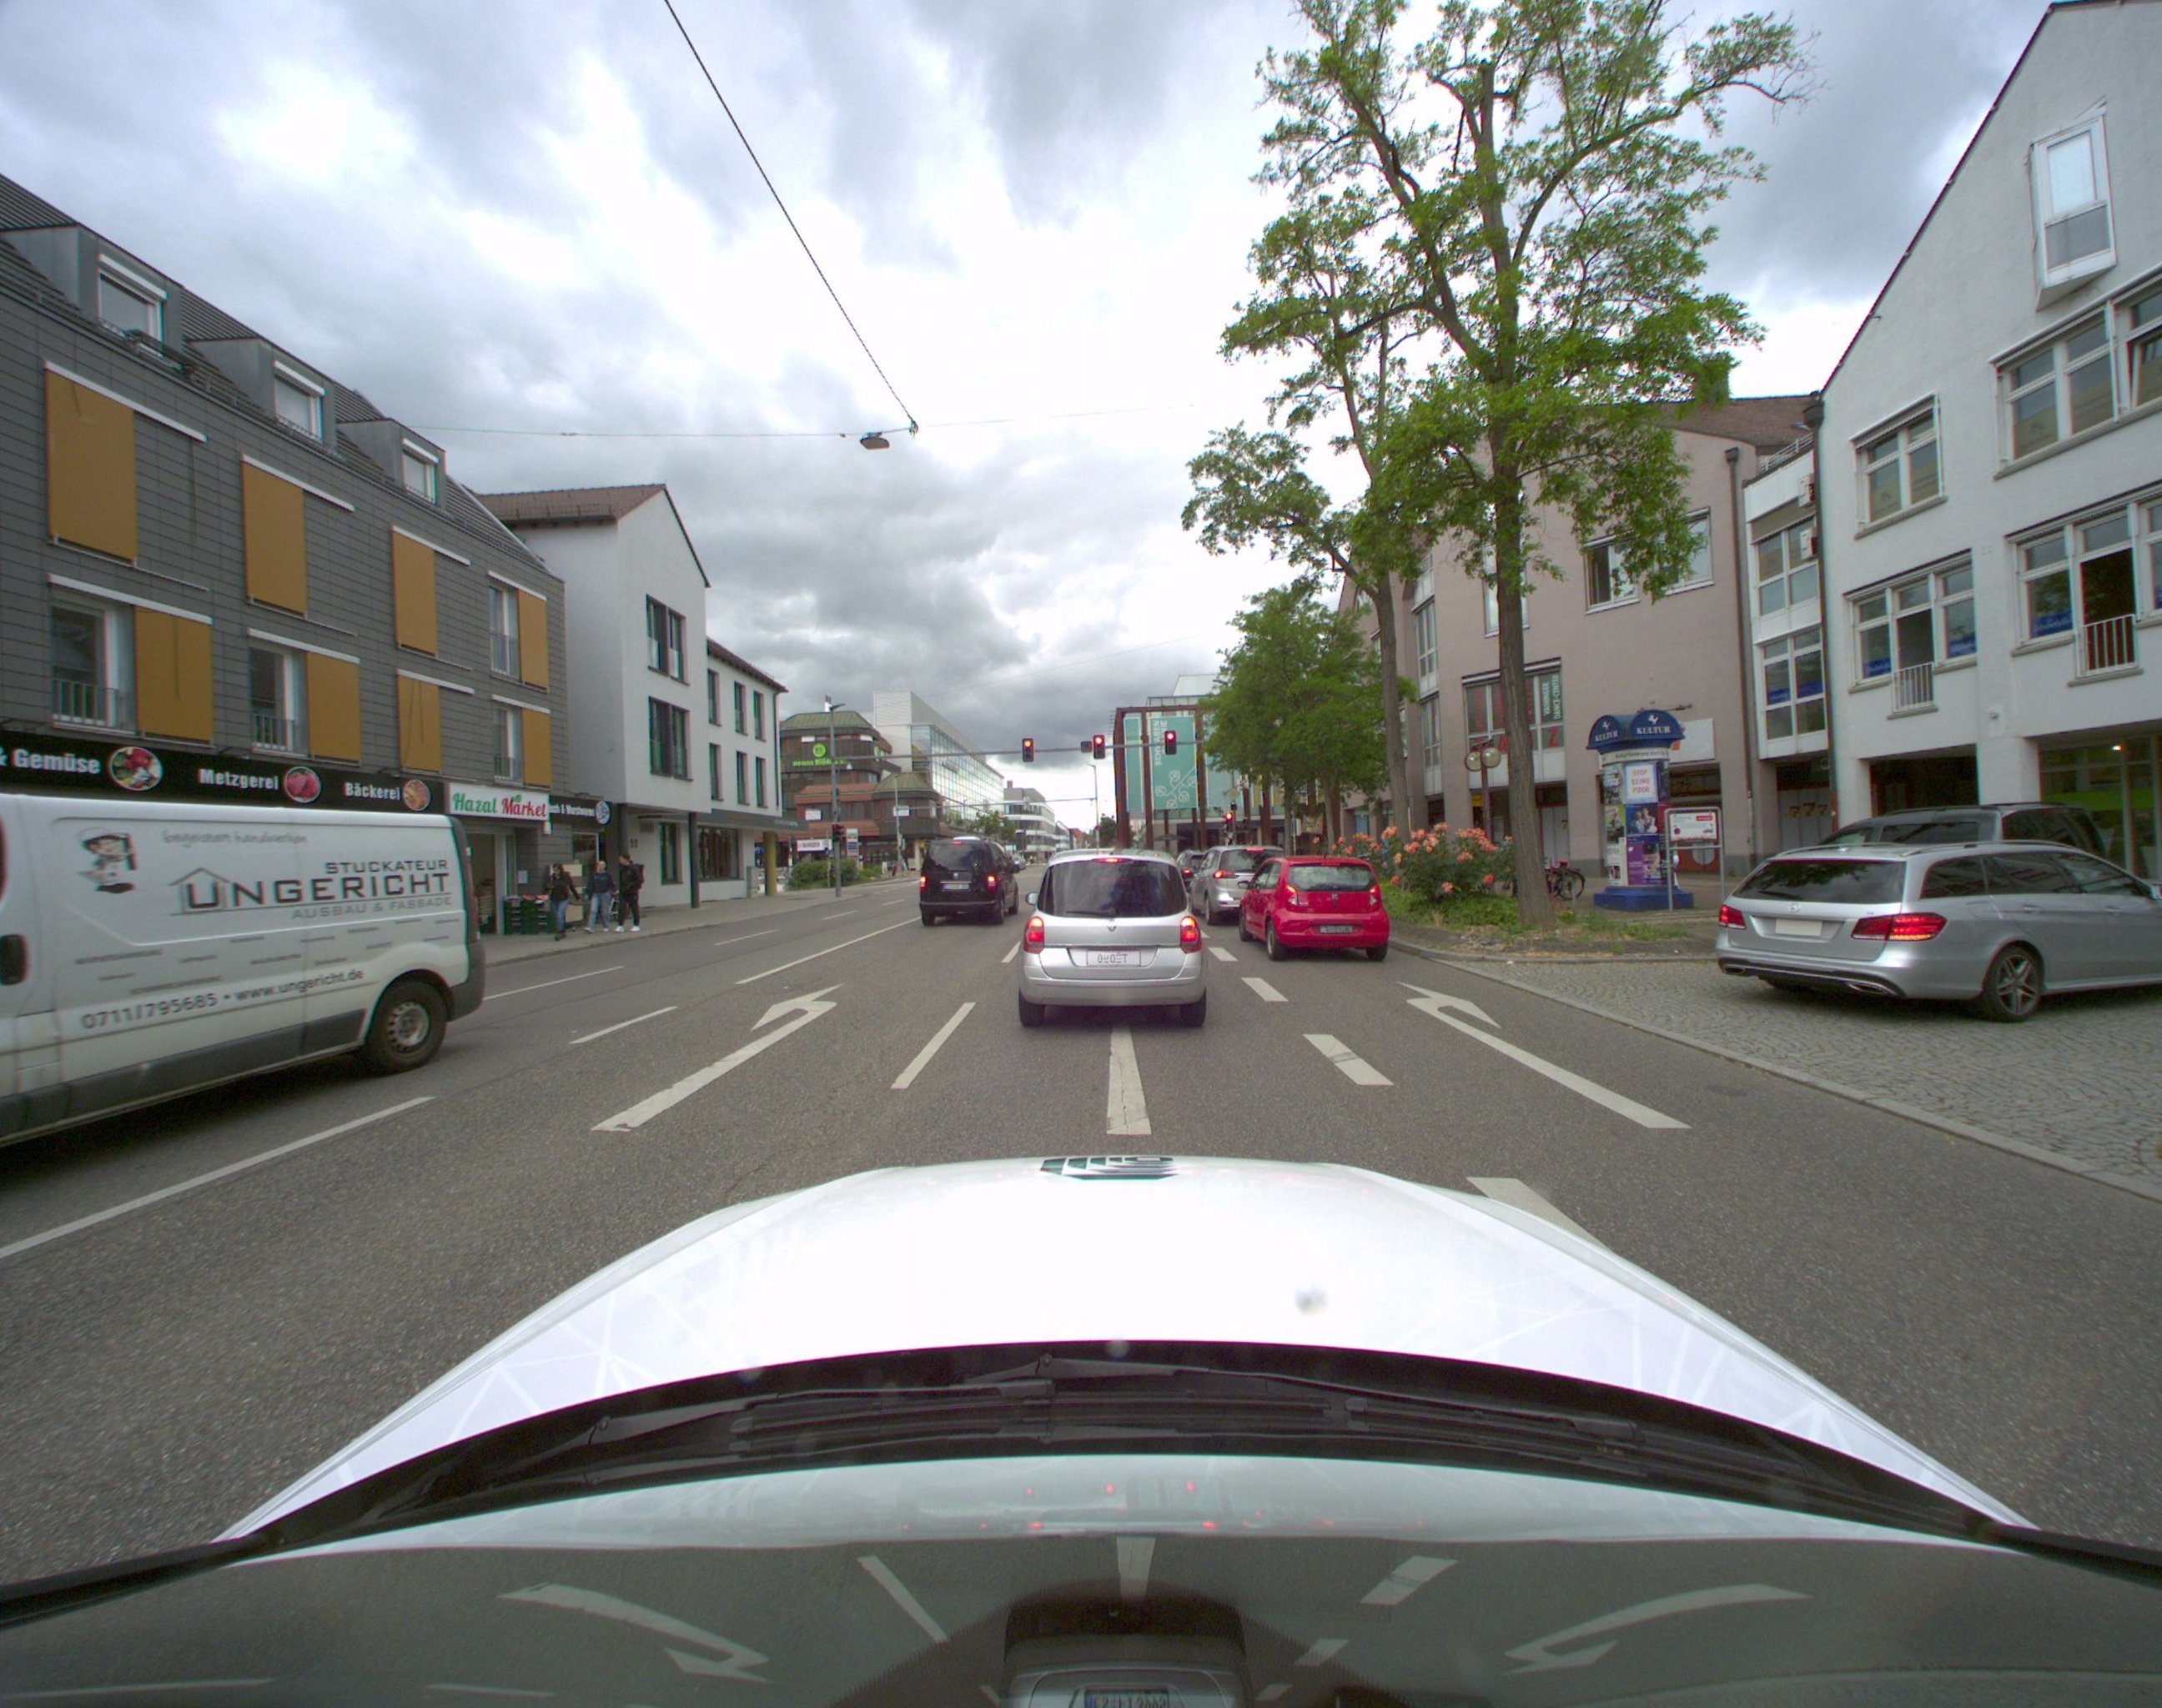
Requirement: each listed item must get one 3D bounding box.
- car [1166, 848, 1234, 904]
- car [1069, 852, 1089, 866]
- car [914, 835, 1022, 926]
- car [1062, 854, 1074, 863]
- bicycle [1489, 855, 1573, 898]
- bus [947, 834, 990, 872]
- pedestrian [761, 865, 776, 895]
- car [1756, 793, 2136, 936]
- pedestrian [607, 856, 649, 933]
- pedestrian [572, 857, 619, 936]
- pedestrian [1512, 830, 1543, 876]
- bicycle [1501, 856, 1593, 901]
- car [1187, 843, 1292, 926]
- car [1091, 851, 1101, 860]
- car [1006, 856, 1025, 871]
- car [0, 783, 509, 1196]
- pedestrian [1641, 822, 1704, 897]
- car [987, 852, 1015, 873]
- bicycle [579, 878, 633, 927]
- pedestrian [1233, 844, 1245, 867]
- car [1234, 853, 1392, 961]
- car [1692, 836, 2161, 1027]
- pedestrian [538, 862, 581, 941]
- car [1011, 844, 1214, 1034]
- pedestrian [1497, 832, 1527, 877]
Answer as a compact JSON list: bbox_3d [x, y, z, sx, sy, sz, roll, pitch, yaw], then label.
[{"bbox_3d":[3.602,0.613,25.196,1.581,1.595,3.868,0,0,0],"label":"car"},{"bbox_3d":[-0.274,0.576,99.493,1.907,1.677,4.249,-2,0,6],"label":"car"},{"bbox_3d":[-2.482,0.543,18.995,1.738,1.855,4.635,-1,0,1],"label":"car"},{"bbox_3d":[-2.366,0.784,147.623,1.793,1.540,4.068,-2,0,3],"label":"car"},{"bbox_3d":[11.192,0.560,20.277,1.760,0.997,0.447,-2,0,5],"label":"bicycle"},{"bbox_3d":[-10.342,-0.099,75.738,2.678,3.261,8.653,-2,0,1],"label":"bus"},{"bbox_3d":[-17.684,1.476,46.107,0.705,1.658,0.934,-2,0,-20],"label":"pedestrian"},{"bbox_3d":[13.166,0.130,12.822,1.633,1.831,3.963,-3,0,-3],"label":"car"},{"bbox_3d":[-10.749,0.951,19.336,0.567,1.775,0.646,-2,0,-1],"label":"pedestrian"},{"bbox_3d":[-11.432,0.988,19.195,0.680,1.790,0.648,-2,0,-3],"label":"pedestrian"},{"bbox_3d":[15.472,-0.045,28.208,0.665,1.563,0.618,-2,0,-20],"label":"pedestrian"},{"bbox_3d":[11.275,0.593,19.721,1.892,0.997,0.468,-2,0,5],"label":"bicycle"},{"bbox_3d":[3.374,0.595,18.021,1.581,1.634,3.916,0,0,0],"label":"car"},{"bbox_3d":[3.289,0.248,180.117,1.987,1.949,4.951,-2,0,1],"label":"car"},{"bbox_3d":[-6.445,0.903,80.465,1.550,1.392,3.288,-2,0,0],"label":"car"},{"bbox_3d":[-5.952,0.667,4.357,1.987,1.888,5.159,-3,0,1],"label":"car"},{"bbox_3d":[13.892,0.125,19.153,0.786,1.659,0.819,-4,0,1],"label":"pedestrian"},{"bbox_3d":[-7.134,0.742,72.671,1.987,1.706,4.065,-2,0,0],"label":"car"},{"bbox_3d":[-12.796,1.291,22.004,0.385,1.186,1.825,-2,0,-1],"label":"bicycle"},{"bbox_3d":[11.735,0.098,60.462,0.652,1.650,0.557,-2,0,-13],"label":"pedestrian"},{"bbox_3d":[3.427,0.706,12.604,1.580,1.443,3.350,0,0,2],"label":"car"},{"bbox_3d":[8.469,0.588,7.843,4.361,1.448,1.812,-1,1,-14],"label":"car"},{"bbox_3d":[-11.238,1.011,17.569,0.654,1.650,0.555,-2,0,-22],"label":"pedestrian"},{"bbox_3d":[0.305,0.693,8.344,1.634,1.527,3.395,-1,0,1],"label":"car"},{"bbox_3d":[14.781,0.017,27.911,0.611,1.515,0.618,-2,0,-20],"label":"pedestrian"}]
